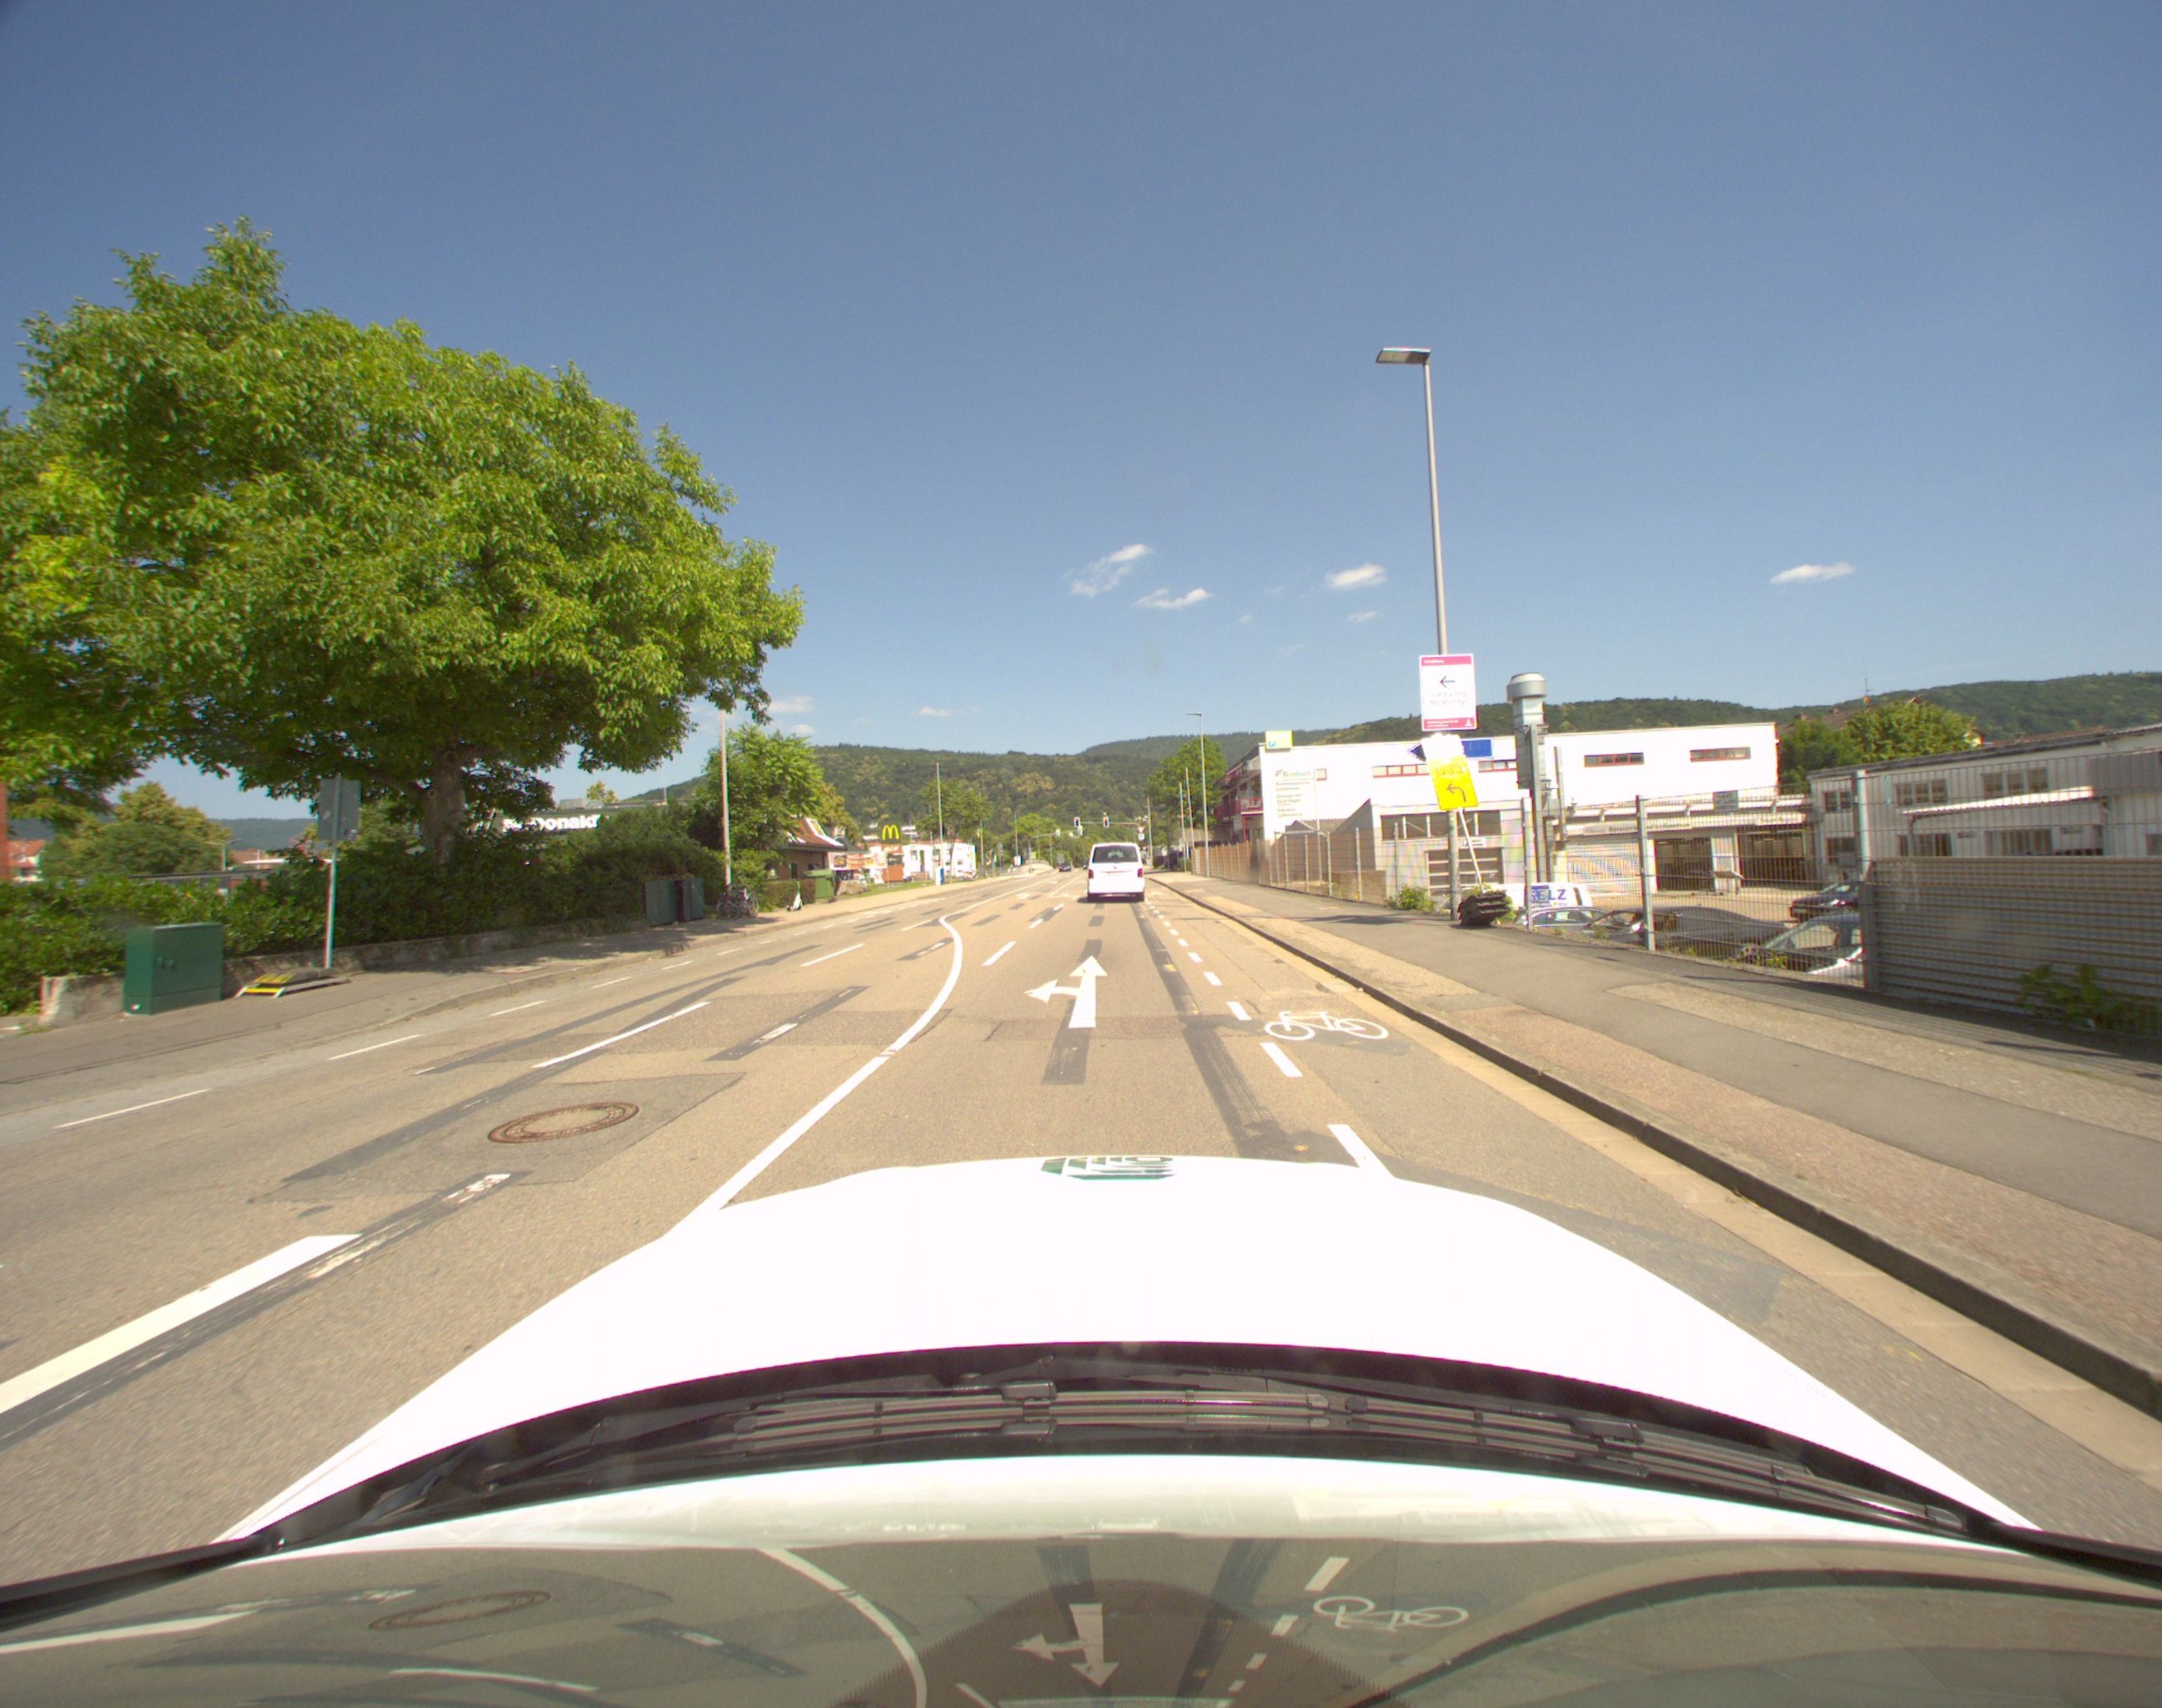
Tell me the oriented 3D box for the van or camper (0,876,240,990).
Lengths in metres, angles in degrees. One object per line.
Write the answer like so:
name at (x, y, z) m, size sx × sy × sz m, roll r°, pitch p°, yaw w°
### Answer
van or camper at (-16.151, 1.229, 13.216) m, size 3.377 × 1.665 × 1.635 m, roll -1°, pitch 0°, yaw 3°

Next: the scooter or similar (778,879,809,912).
scooter or similar at (-10.349, 1.478, 29.398) m, size 0.645 × 1.127 × 1.620 m, roll 0°, pitch 0°, yaw -5°

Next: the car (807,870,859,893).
car at (-16.608, 1.826, 54.765) m, size 1.985 × 1.416 × 4.134 m, roll -1°, pitch 0°, yaw 4°

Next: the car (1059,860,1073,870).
car at (-2.236, 1.643, 121.987) m, size 1.987 × 1.370 × 4.327 m, roll -3°, pitch 0°, yaw 1°

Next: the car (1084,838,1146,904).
car at (1.123, 0.534, 28.389) m, size 1.928 × 2.059 × 4.544 m, roll -2°, pitch 0°, yaw 0°

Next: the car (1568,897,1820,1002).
car at (13.117, 1.999, 17.624) m, size 3.973 × 2.013 × 2.000 m, roll 0°, pitch 0°, yaw 0°

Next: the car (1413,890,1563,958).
car at (13.189, 2.241, 26.536) m, size 3.973 × 2.013 × 1.852 m, roll 0°, pitch 0°, yaw 0°

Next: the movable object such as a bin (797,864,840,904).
movable object such as a bin at (-11.278, 1.275, 35.088) m, size 1.447 × 1.590 × 1.304 m, roll -3°, pitch 0°, yaw -7°

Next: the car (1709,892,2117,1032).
car at (12.061, 1.505, 12.045) m, size 3.974 × 1.651 × 2.000 m, roll -2°, pitch 0°, yaw 0°

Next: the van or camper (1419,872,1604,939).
van or camper at (12.387, 1.437, 23.637) m, size 4.303 × 1.651 × 2.019 m, roll -2°, pitch 0°, yaw -3°

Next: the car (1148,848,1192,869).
car at (8.364, 0.423, 76.245) m, size 3.965 × 1.775 × 2.005 m, roll -3°, pitch 0°, yaw 7°

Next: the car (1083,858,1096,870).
car at (1.284, 1.512, 125.501) m, size 1.842 × 1.588 × 4.002 m, roll -3°, pitch 0°, yaw 2°

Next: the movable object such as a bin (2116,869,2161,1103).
movable object such as a bin at (11.872, 1.143, 6.321) m, size 5.096 × 2.013 × 2.001 m, roll 0°, pitch 0°, yaw 1°

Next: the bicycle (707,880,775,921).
bicycle at (-10.628, 1.423, 25.599) m, size 1.024 × 1.118 × 2.764 m, roll 0°, pitch 0°, yaw -1°

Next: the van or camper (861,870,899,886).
van or camper at (-21.973, 2.632, 89.113) m, size 3.996 × 1.574 × 1.989 m, roll -1°, pitch 0°, yaw -16°

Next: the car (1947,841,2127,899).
car at (32.985, 0.547, 28.178) m, size 3.974 × 1.857 × 1.915 m, roll -1°, pitch -1°, yaw -1°

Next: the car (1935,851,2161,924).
car at (26.773, 0.882, 22.640) m, size 3.976 × 1.662 × 1.999 m, roll -4°, pitch 0°, yaw -1°

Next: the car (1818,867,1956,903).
car at (32.922, 1.279, 33.329) m, size 3.813 × 1.405 × 1.869 m, roll 0°, pitch -2°, yaw -1°
